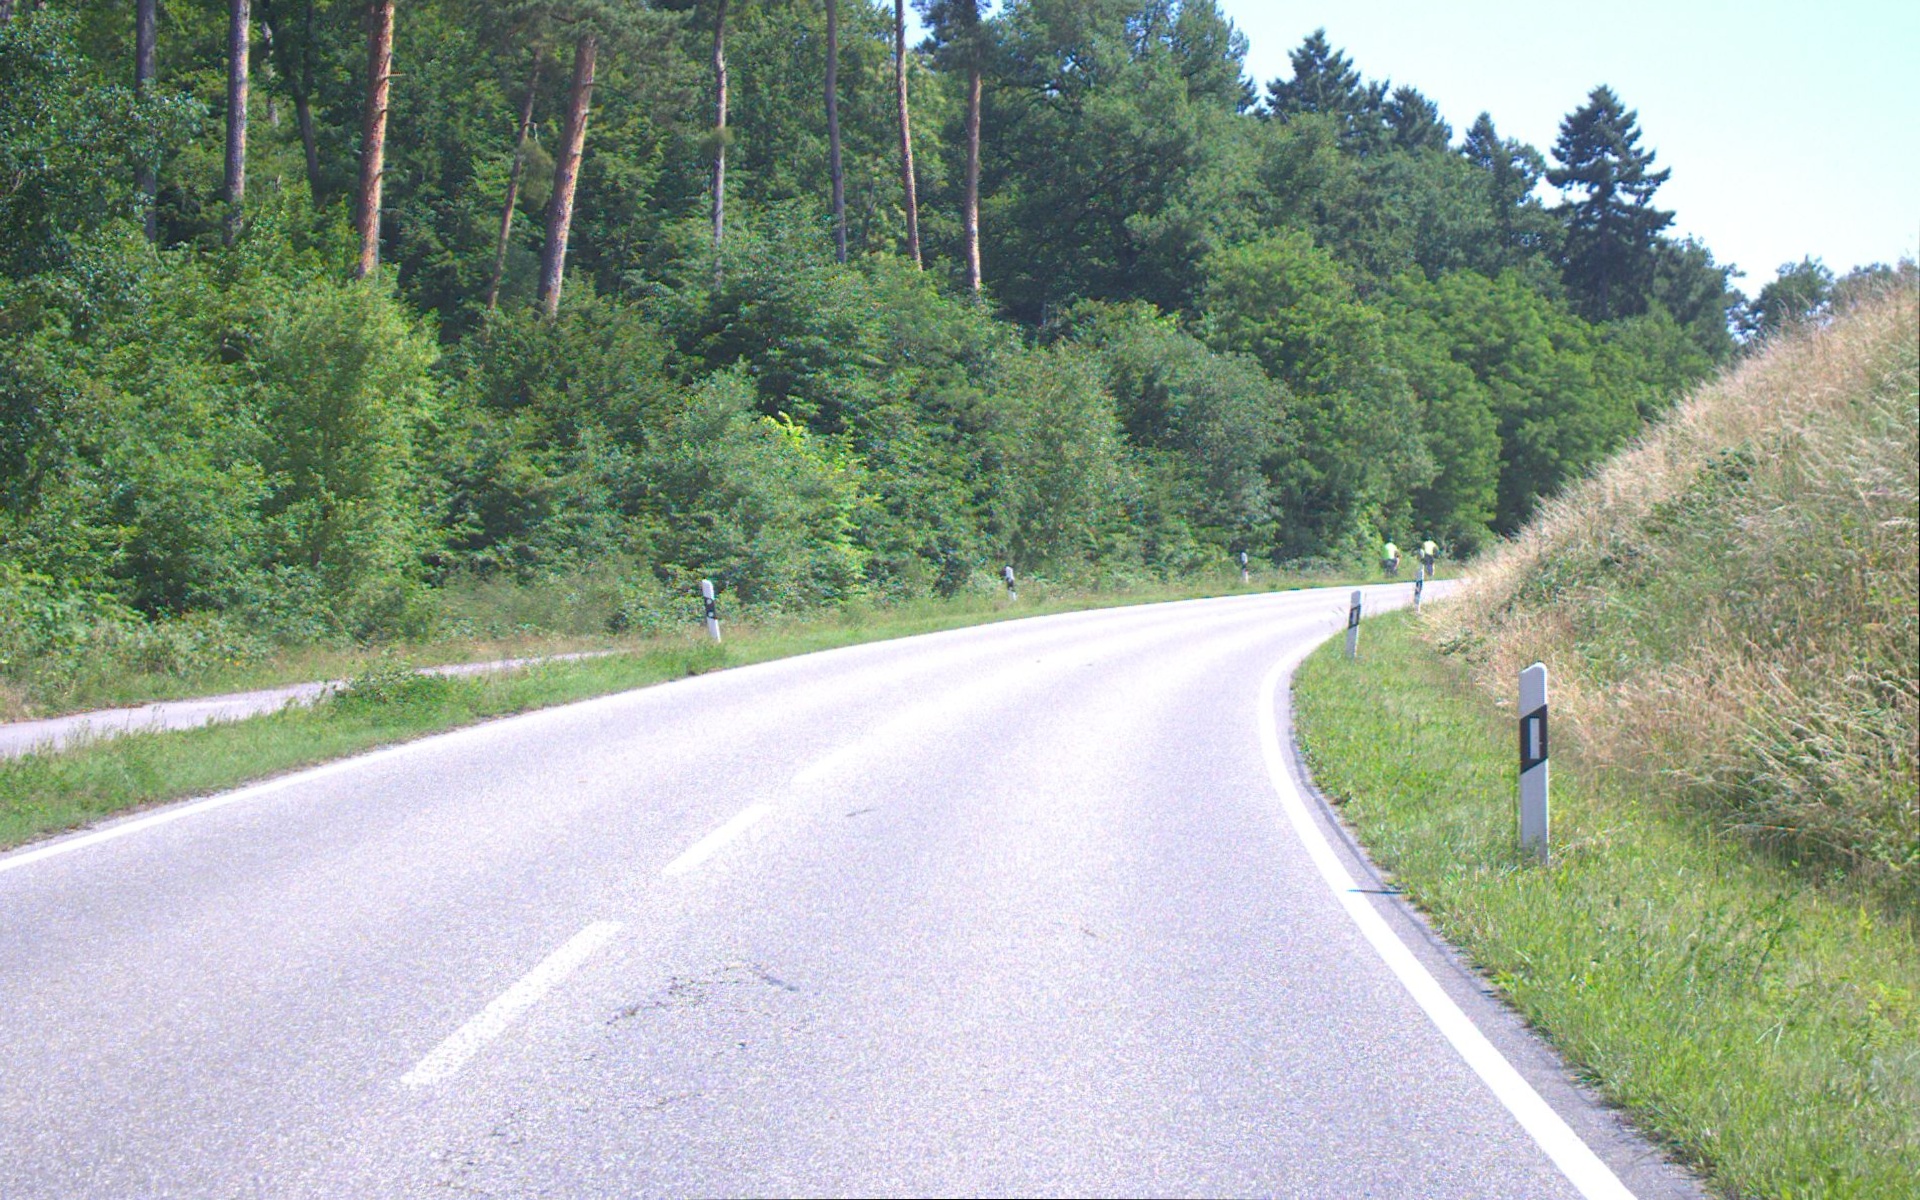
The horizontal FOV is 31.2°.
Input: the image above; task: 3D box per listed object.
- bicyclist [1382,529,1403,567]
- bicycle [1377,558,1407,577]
[{"bbox_3d":[16.147,-1.937,128.248,0.605,1.410,0.702,1,0,21],"label":"bicyclist"},{"bbox_3d":[16.114,-1.214,128.228,0.620,0.679,2.134,1,0,21],"label":"bicycle"}]
